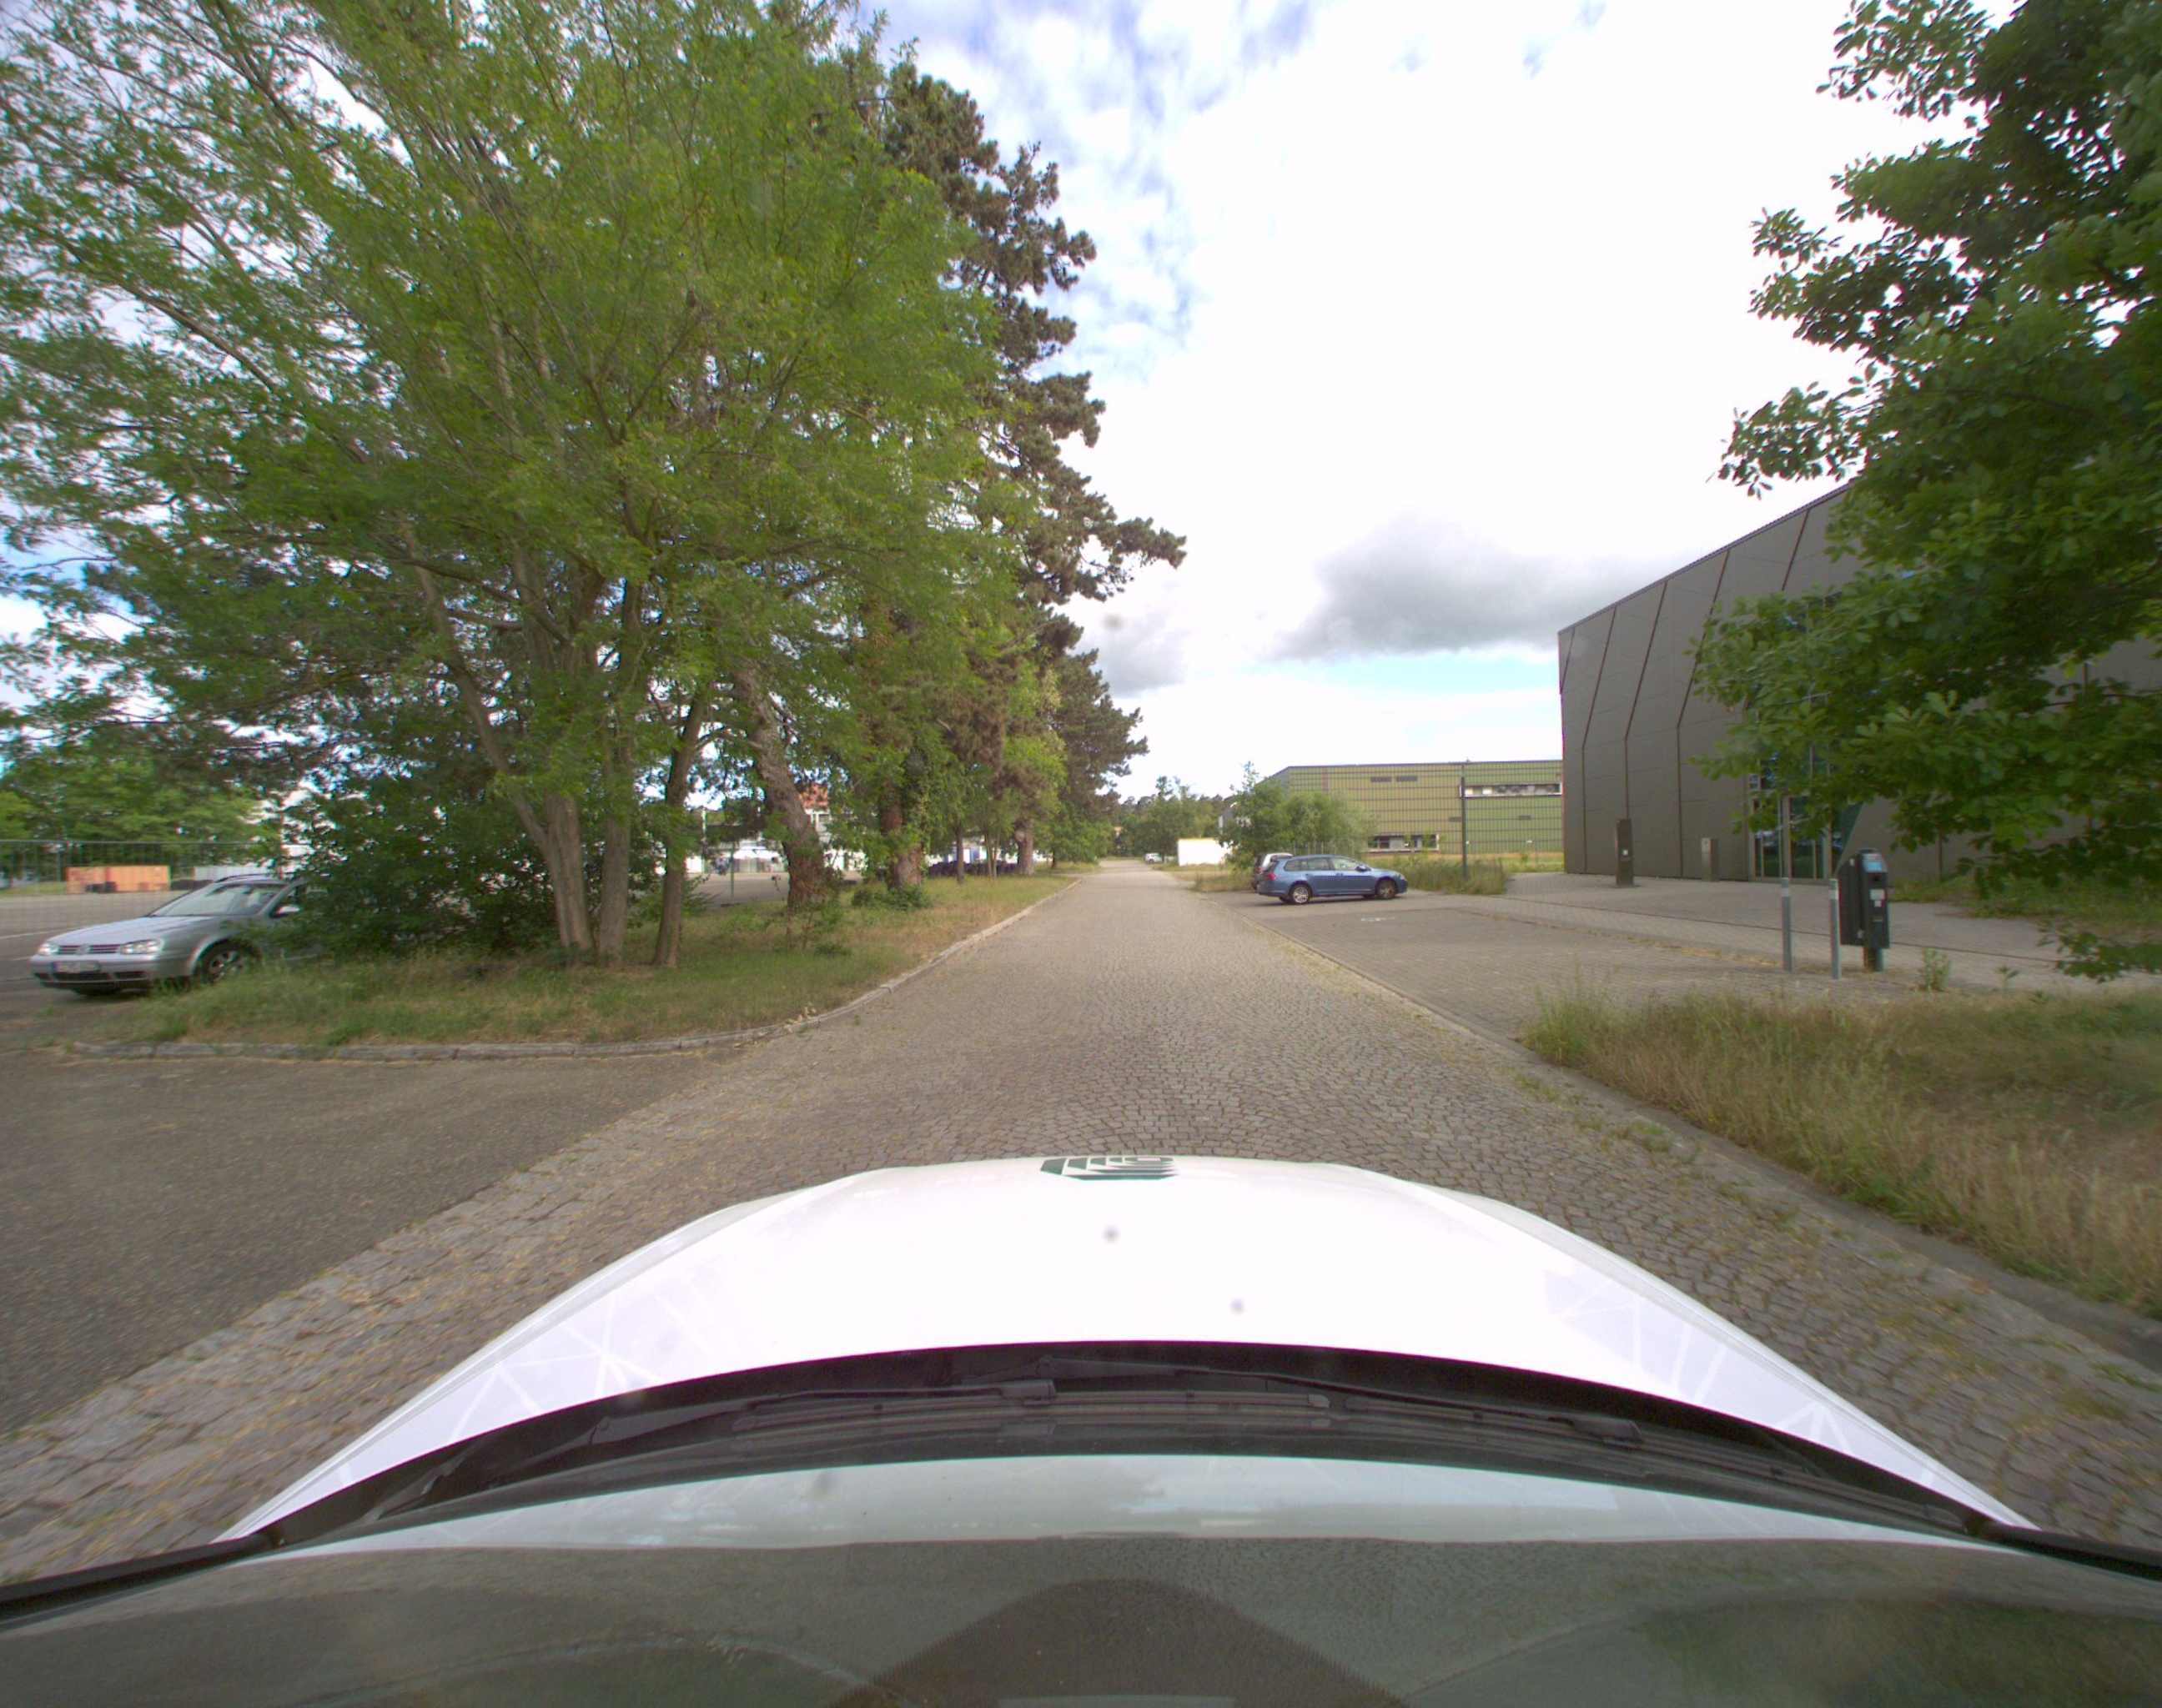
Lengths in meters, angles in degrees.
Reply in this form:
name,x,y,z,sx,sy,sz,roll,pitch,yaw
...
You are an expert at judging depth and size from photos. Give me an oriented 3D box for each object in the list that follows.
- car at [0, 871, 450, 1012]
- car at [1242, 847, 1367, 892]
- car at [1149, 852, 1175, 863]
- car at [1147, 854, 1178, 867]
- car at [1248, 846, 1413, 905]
name,x,y,z,sx,sy,sz,roll,pitch,yaw
car,-11.530,1.038,11.419,1.912,1.477,4.369,-1,0,0
car,8.906,0.616,32.765,4.498,1.531,2.002,-3,0,3
car,13.862,0.555,139.935,4.335,1.780,1.927,-1,0,4
car,11.845,0.924,118.988,4.338,1.687,1.926,-1,0,2
car,7.682,0.639,25.419,4.504,1.531,1.999,-3,0,-1
